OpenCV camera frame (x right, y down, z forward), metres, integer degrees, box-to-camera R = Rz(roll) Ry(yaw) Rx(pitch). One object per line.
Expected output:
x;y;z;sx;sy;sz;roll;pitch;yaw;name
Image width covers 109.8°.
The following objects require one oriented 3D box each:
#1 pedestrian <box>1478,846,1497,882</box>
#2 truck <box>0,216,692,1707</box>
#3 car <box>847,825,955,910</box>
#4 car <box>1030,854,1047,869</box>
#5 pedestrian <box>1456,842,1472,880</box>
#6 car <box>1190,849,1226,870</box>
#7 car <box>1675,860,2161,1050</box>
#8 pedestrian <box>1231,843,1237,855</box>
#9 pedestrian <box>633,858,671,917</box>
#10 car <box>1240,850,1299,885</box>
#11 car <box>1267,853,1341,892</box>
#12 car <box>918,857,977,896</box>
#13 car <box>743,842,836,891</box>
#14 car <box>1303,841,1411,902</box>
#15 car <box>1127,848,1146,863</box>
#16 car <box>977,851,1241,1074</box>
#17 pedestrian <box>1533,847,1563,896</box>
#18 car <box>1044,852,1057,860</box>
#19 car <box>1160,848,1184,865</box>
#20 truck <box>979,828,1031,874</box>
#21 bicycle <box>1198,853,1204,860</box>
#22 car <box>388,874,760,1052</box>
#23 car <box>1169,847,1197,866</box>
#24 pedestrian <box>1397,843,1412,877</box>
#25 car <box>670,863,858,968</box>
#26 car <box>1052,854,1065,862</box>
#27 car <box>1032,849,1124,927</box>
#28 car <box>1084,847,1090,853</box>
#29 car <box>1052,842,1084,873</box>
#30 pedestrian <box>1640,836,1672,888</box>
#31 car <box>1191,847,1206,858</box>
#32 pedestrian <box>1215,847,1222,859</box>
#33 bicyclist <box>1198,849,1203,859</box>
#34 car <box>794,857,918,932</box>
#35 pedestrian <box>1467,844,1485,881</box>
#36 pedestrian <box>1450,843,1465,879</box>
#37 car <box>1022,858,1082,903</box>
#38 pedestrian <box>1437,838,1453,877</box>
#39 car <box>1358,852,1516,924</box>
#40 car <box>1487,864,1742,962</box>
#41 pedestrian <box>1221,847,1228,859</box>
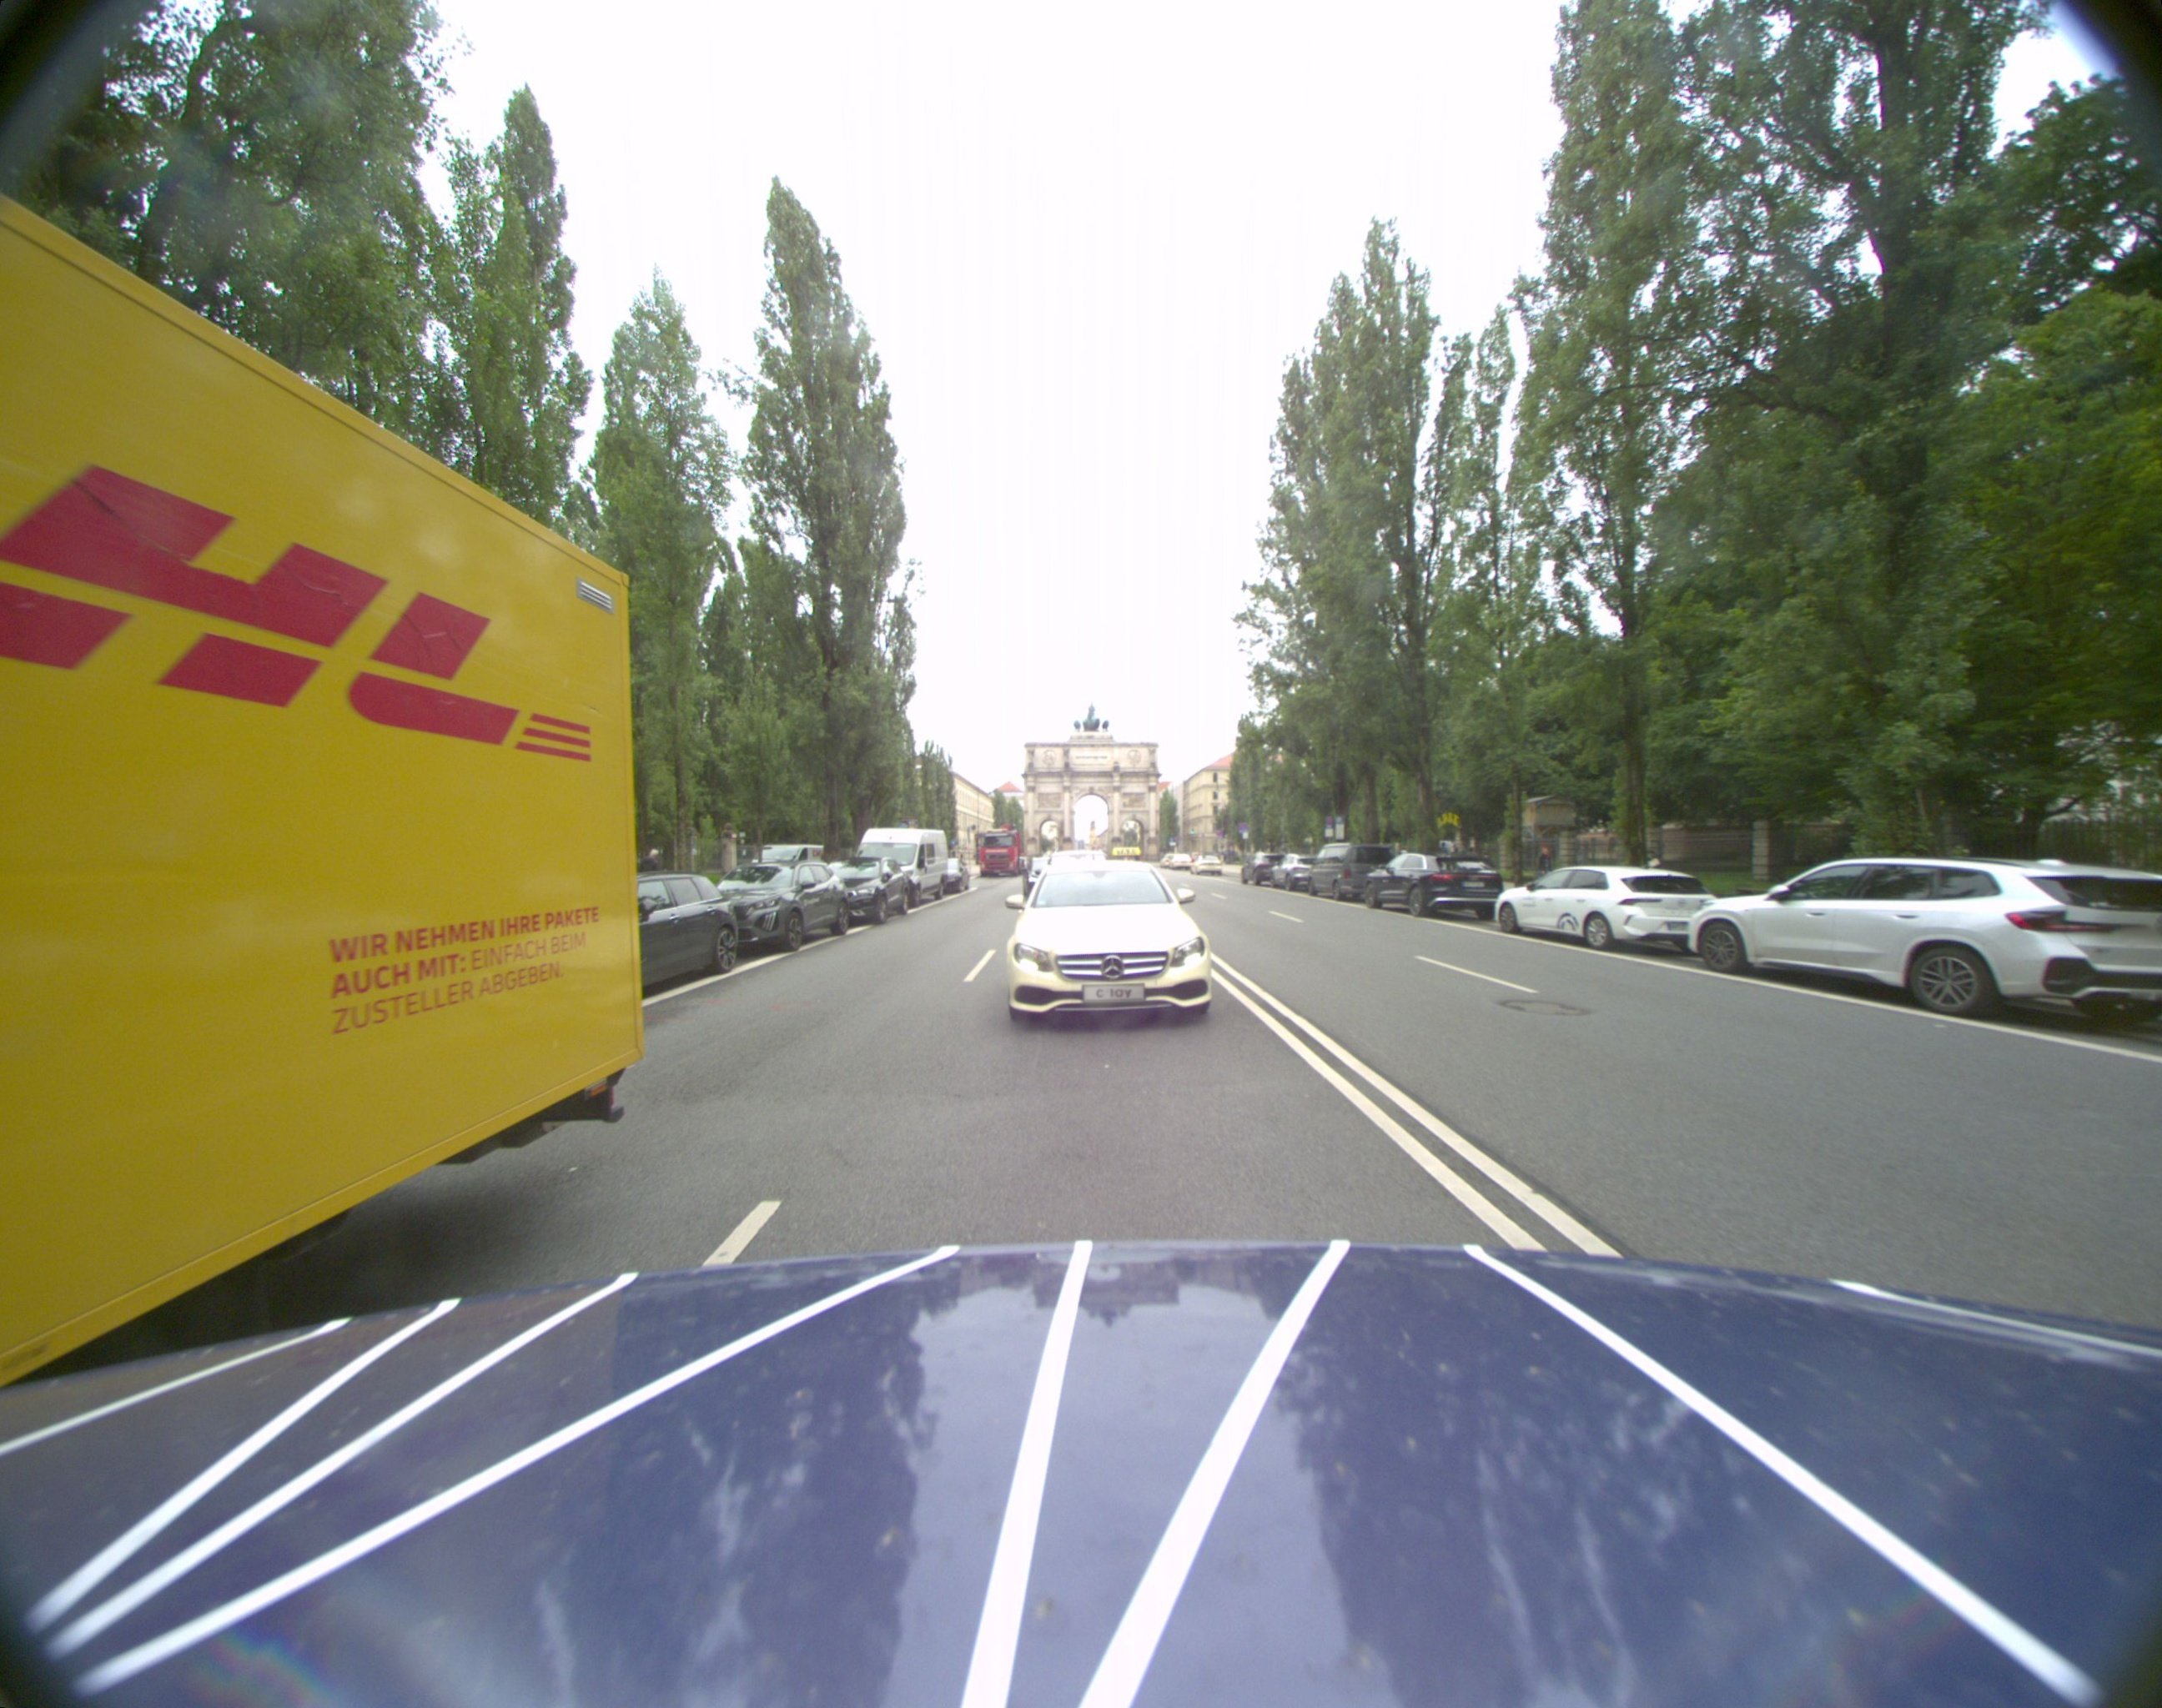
18.630;0.460;34.822;0.551;1.659;0.532;-1;1;-1;pedestrian
-3.102;0.300;0.144;2.334;2.881;7.331;-1;1;-1;truck
-5.801;0.376;25.446;2.080;2.465;6.283;-2;0;0;car
-4.842;0.828;86.584;1.808;1.619;3.999;0;0;-1;car
19.540;0.353;38.736;0.551;1.948;0.532;-1;1;-1;pedestrian
9.504;0.421;57.144;1.935;1.488;4.790;0;0;1;car
9.523;0.907;8.796;1.790;1.579;4.461;2;0;1;car
27.264;-0.905;135.703;0.796;2.002;0.754;-1;1;-35;pedestrian
-12.395;0.952;21.969;0.717;1.650;0.633;-1;1;-1;pedestrian
9.434;0.626;38.346;1.786;1.586;4.613;1;0;0;car
9.761;0.755;33.667;1.895;1.575;4.653;1;0;0;car
-5.619;0.909;32.421;1.759;1.441;3.999;-3;0;0;car
-12.517;0.467;32.996;1.998;1.935;5.082;0;1;1;car
9.620;0.561;26.982;1.999;1.945;4.936;1;0;0;car
6.304;0.174;86.617;1.789;1.646;4.112;1;1;0;car
0.233;0.808;8.046;1.919;1.566;4.688;-2;1;0;car
16.516;0.610;26.886;0.584;1.710;0.786;-1;1;-1;pedestrian
-6.835;0.396;170.751;1.785;1.739;4.325;0;0;16;car
9.400;0.236;78.703;1.823;1.550;4.858;2;1;0;car
-5.399;-0.236;55.874;2.720;3.092;10.425;0;0;0;truck
17.019;0.380;107.866;0.709;0.933;1.736;-1;1;7;bicycle
-5.600;1.070;9.158;1.637;1.437;4.148;-3;1;0;car
9.559;0.196;71.532;1.942;1.615;4.964;0;1;0;car
16.818;0.291;39.514;0.551;1.737;0.532;-1;1;-1;pedestrian
-5.499;0.972;13.789;1.655;1.495;4.113;-2;1;0;car
-5.134;0.921;176.321;1.785;1.739;4.326;0;0;16;car
-0.062;0.729;18.936;1.953;1.615;4.411;-2;1;0;car
1.947;-1.304;262.913;1.999;2.002;4.394;0;0;0;car
-0.758;0.205;48.033;1.890;1.846;4.312;-1;1;1;car
19.296;0.259;25.499;0.551;1.737;0.672;-1;1;-1;pedestrian
21.125;-0.240;136.762;2.004;1.844;4.990;1;1;2;car
19.341;-0.103;107.112;0.845;1.668;0.968;0;1;17;pedestrian
17.023;-0.018;107.910;0.695;1.489;0.862;0;1;7;bicyclist
-5.446;0.902;18.977;1.825;1.581;4.222;-1;1;0;car
18.067;0.393;34.779;0.551;1.691;0.532;-1;1;-1;pedestrian
19.036;0.348;38.404;0.434;1.824;0.612;-1;1;-1;pedestrian
-0.992;0.859;26.942;1.923;1.320;4.410;-2;1;-1;car
18.482;0.183;38.561;0.551;1.948;0.532;-1;1;-1;pedestrian
9.315;0.791;20.460;1.820;1.599;5.052;2;1;0;car
9.496;0.956;14.037;1.680;1.414;4.236;1;1;0;car
20.170;-0.116;106.755;0.845;1.668;0.968;0;1;17;pedestrian
